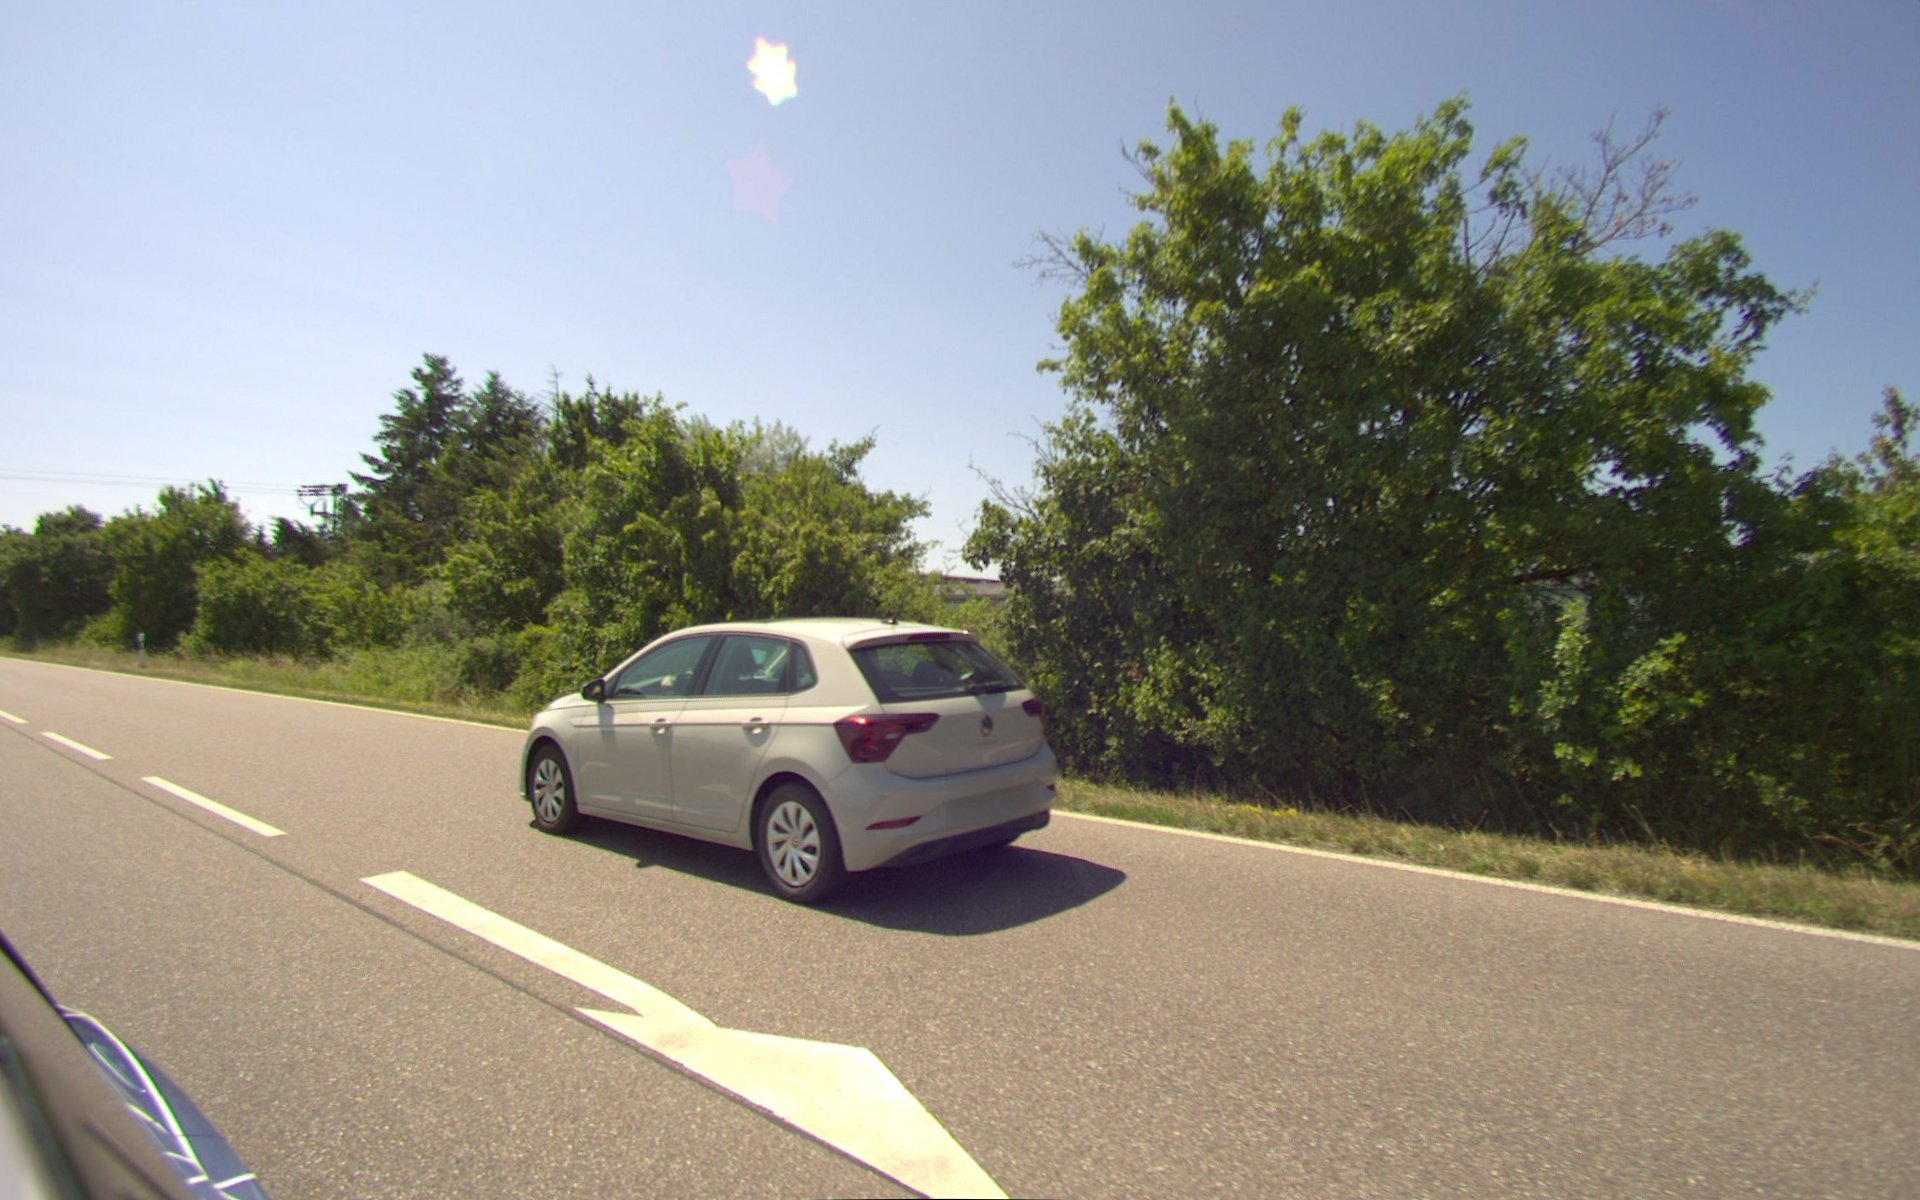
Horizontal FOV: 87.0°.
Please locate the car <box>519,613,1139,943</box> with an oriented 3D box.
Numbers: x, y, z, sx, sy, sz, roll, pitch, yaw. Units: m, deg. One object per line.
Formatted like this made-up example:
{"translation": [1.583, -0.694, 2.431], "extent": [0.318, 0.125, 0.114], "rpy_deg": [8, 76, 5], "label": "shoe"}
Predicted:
{"translation": [-0.997, 0.798, 6.228], "extent": [3.817, 1.392, 1.689], "rpy_deg": [-1, -1, 41], "label": "car"}
